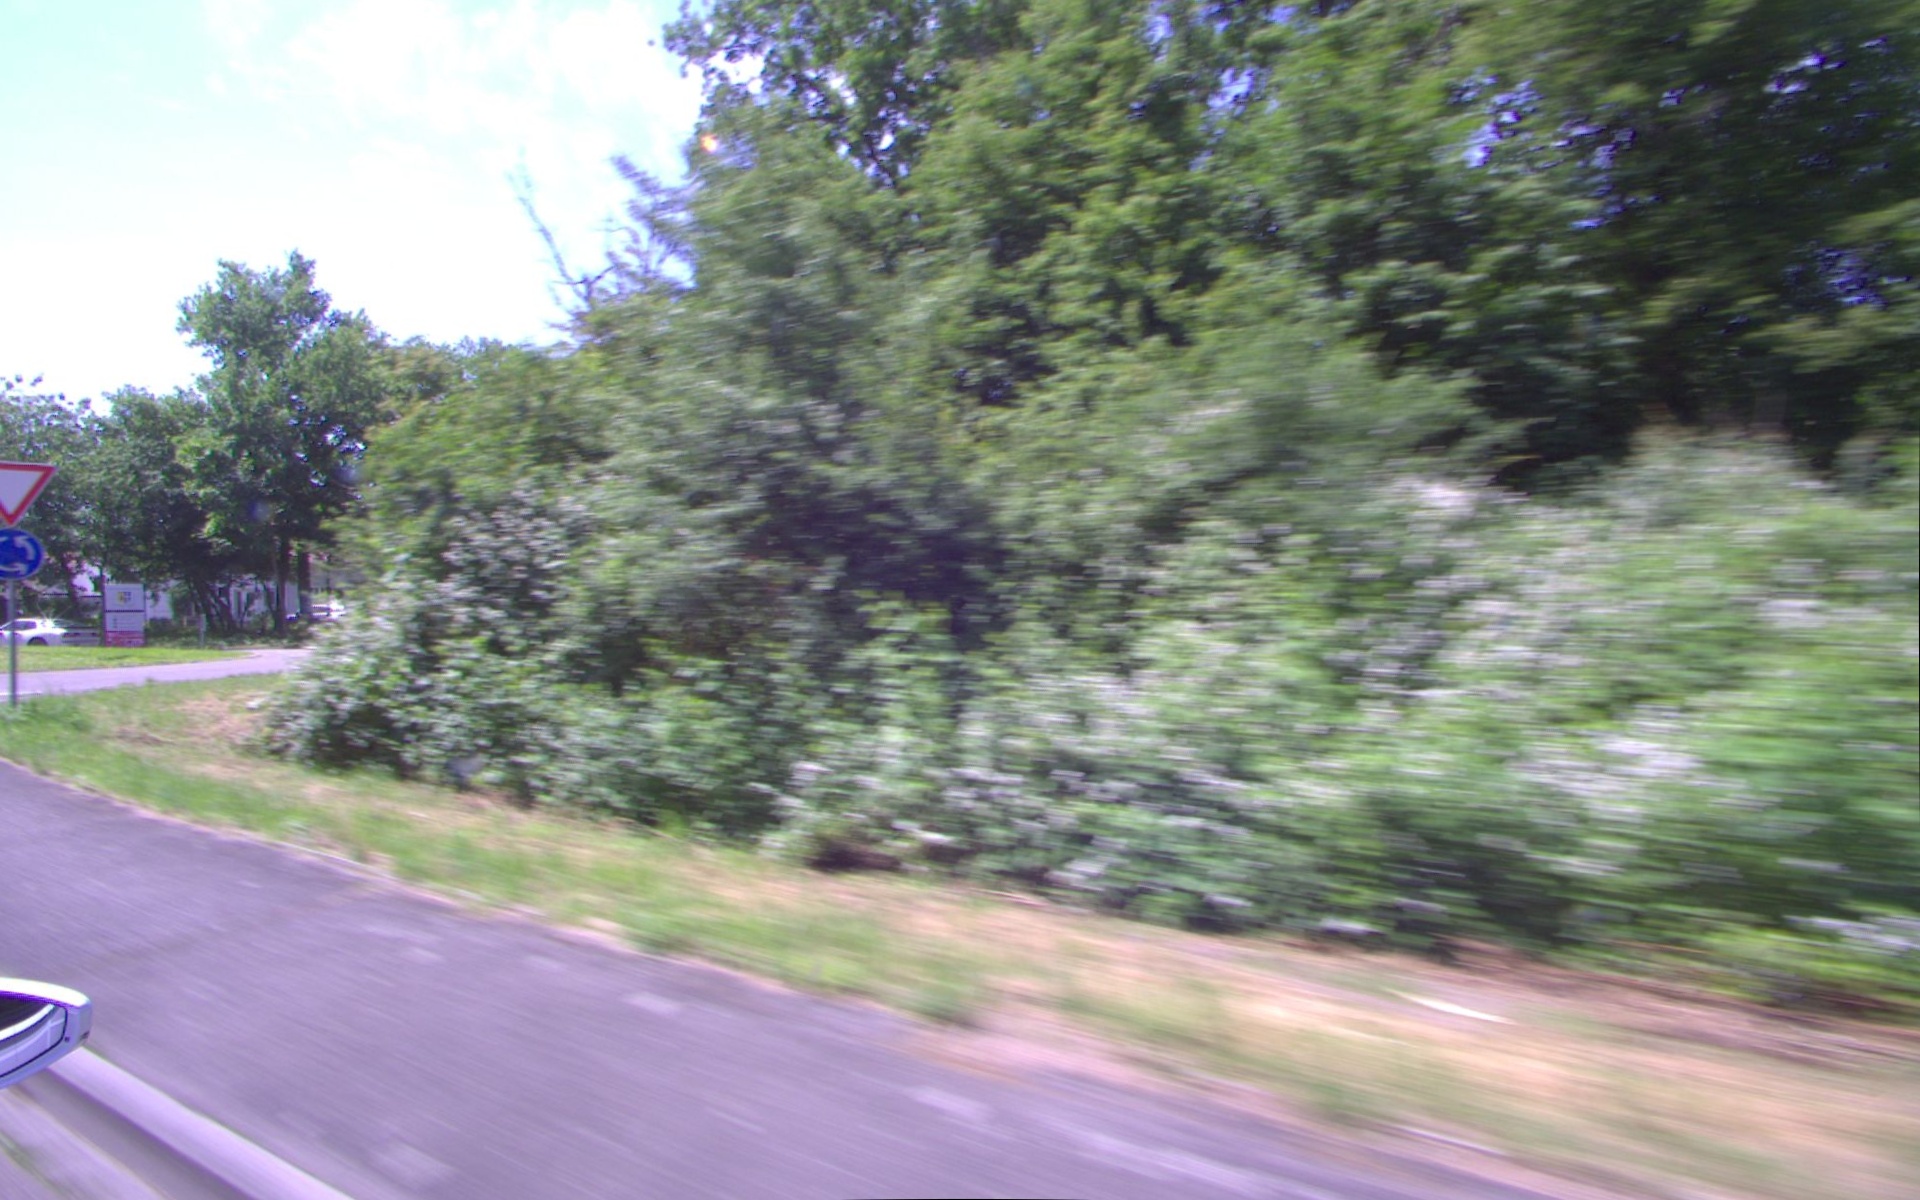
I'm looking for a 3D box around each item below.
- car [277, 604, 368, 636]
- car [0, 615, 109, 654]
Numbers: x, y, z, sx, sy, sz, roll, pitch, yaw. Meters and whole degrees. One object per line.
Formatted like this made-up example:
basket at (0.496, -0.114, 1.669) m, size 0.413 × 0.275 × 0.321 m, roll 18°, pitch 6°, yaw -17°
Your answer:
car at (-36.202, 1.114, 56.903) m, size 4.062 × 1.727 × 1.666 m, roll -1°, pitch 0°, yaw -1°
car at (-31.951, 1.187, 34.674) m, size 3.487 × 1.305 × 1.619 m, roll -1°, pitch 0°, yaw -3°
